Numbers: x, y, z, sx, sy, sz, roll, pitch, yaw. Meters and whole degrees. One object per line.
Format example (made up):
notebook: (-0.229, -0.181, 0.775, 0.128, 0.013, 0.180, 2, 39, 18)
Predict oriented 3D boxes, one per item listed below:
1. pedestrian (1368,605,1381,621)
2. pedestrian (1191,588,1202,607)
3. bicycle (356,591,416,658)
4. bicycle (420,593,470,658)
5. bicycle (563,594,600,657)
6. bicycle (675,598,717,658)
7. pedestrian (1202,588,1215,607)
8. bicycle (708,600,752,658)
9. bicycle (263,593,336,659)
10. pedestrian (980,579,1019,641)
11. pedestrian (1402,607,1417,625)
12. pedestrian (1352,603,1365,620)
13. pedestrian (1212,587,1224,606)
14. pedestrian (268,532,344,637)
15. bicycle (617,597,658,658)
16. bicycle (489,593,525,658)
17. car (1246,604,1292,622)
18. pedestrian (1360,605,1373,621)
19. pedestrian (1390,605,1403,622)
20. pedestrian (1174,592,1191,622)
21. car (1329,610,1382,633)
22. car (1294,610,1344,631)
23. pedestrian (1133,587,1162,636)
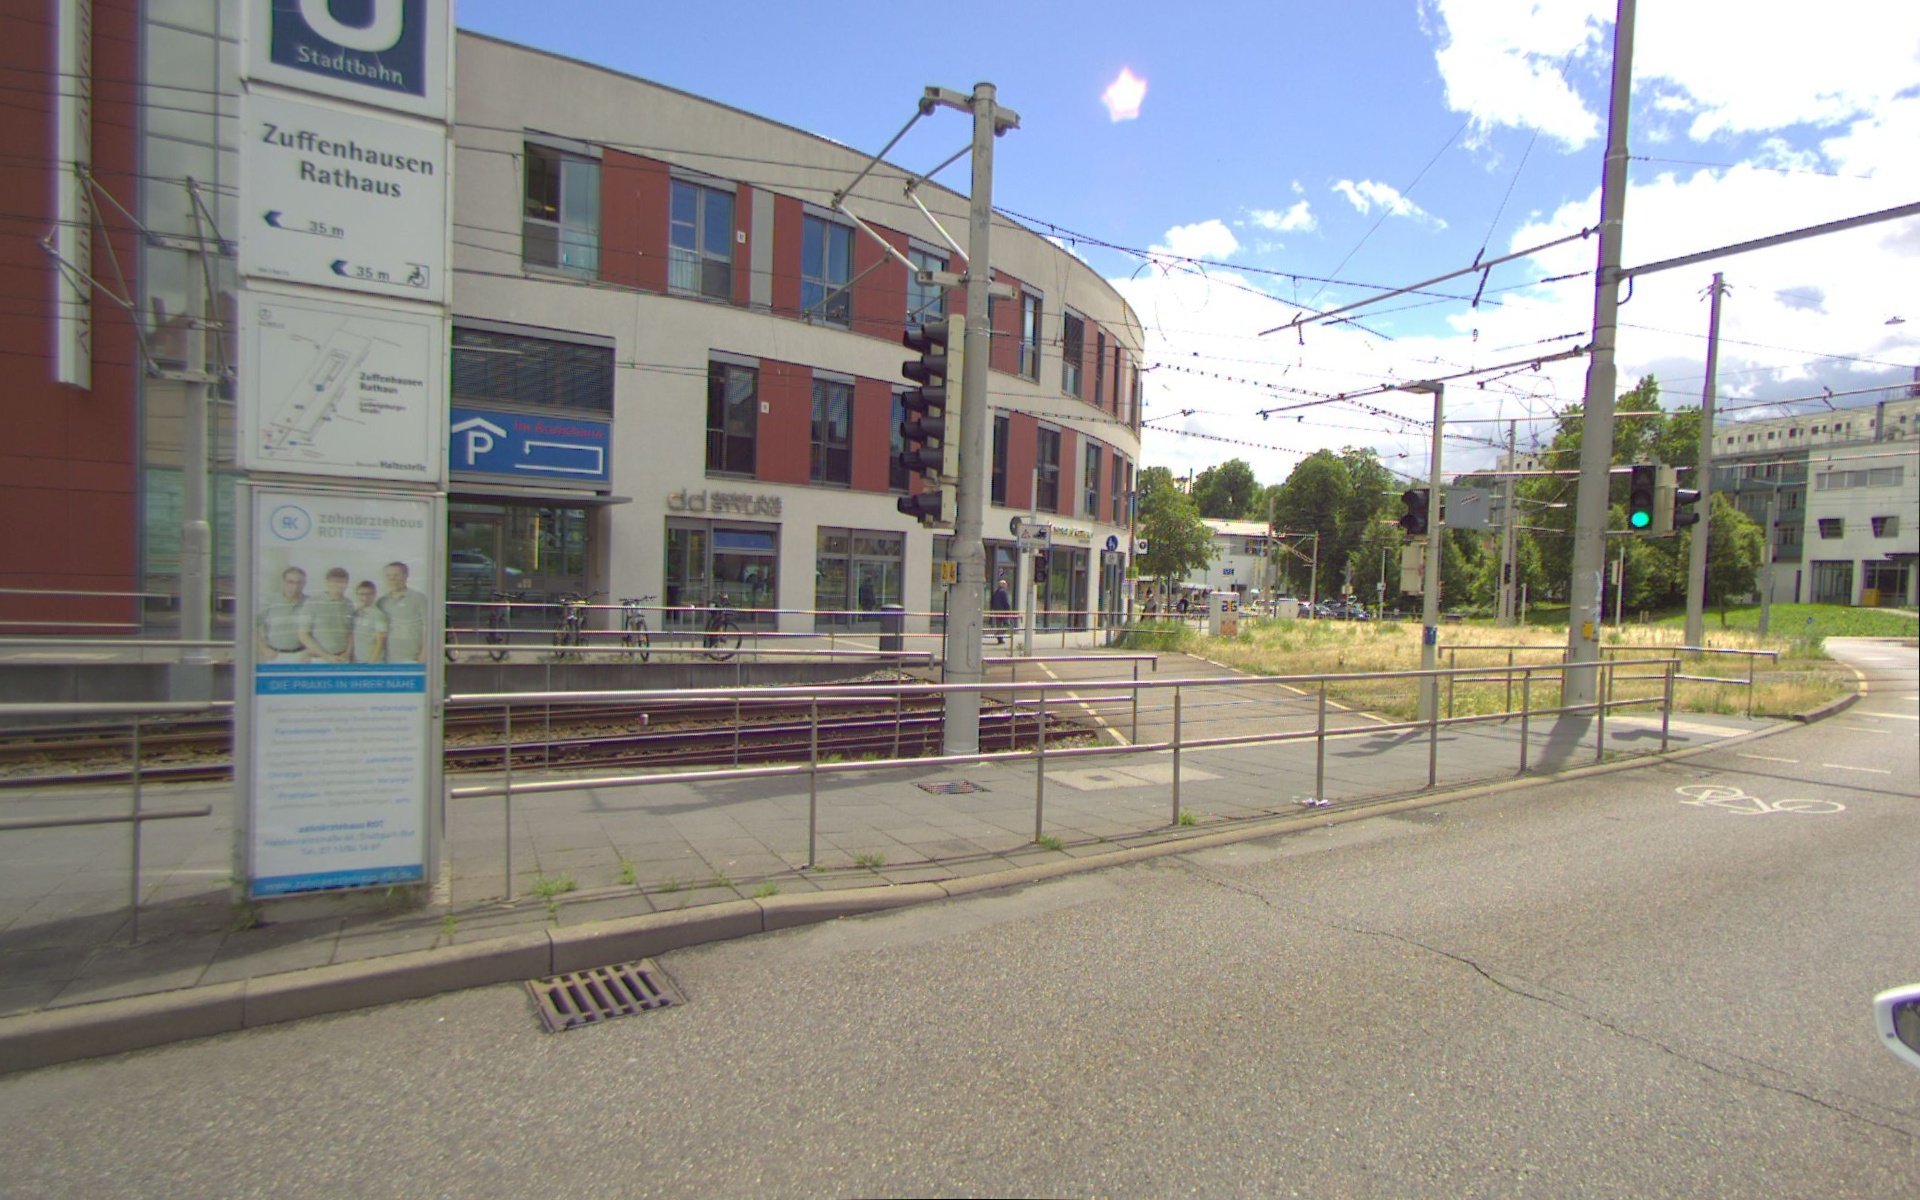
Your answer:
pedestrian: (40.537, 1.263, 98.259, 0.830, 1.597, 0.811, 0, 1, -23)
pedestrian: (22.128, -0.244, 93.815, 0.744, 1.707, 0.671, 1, 1, -14)
bicycle: (-8.890, 0.355, 15.601, 0.447, 0.944, 1.855, 2, 1, -19)
bicycle: (-8.164, 0.378, 15.978, 0.447, 0.935, 1.855, 2, 1, -20)
bicycle: (-6.448, 0.415, 17.069, 0.448, 0.976, 1.852, 2, 1, -25)
bicycle: (-4.761, 0.486, 18.045, 0.422, 0.970, 1.730, 2, 1, -25)
pedestrian: (22.828, -0.255, 92.344, 0.823, 1.755, 0.796, 1, 1, -14)
bicycle: (-4.221, 0.506, 18.361, 0.422, 0.965, 1.730, 2, 1, -25)
bicycle: (-9.836, 0.358, 15.006, 0.447, 0.893, 1.855, 2, 1, -19)
pedestrian: (1.044, 0.265, 26.371, 0.686, 1.601, 0.726, 2, 0, -43)
pedestrian: (41.431, 1.487, 92.588, 0.829, 1.597, 0.811, 0, 1, -22)
pedestrian: (39.755, 1.131, 100.159, 0.829, 1.597, 0.811, 0, 1, -22)
pedestrian: (23.385, -0.327, 90.949, 0.823, 1.714, 0.616, 1, 1, -14)
pedestrian: (-12.219, -0.287, 18.770, 0.865, 1.870, 0.862, 4, 1, 34)
bicycle: (-5.627, 0.455, 17.486, 0.448, 0.948, 1.852, 2, 1, -25)
bicycle: (-7.379, 0.393, 16.397, 0.448, 0.952, 1.853, 2, 1, -23)
car: (28.106, 1.151, 91.479, 1.907, 1.576, 4.476, 2, 0, -16)
pedestrian: (39.602, 1.269, 97.939, 0.830, 1.597, 0.811, 0, 1, -23)
pedestrian: (41.702, 1.287, 95.978, 0.830, 1.597, 0.811, 0, 1, -23)
pedestrian: (12.540, 0.415, 56.632, 0.847, 1.647, 0.733, 2, 0, 9)
car: (33.422, 1.796, 84.969, 1.990, 1.814, 4.224, 1, 0, -16)
car: (30.343, 1.705, 85.076, 1.888, 1.672, 4.240, 2, 0, -16)
pedestrian: (7.793, 0.466, 41.759, 0.849, 1.995, 1.114, 2, 0, 28)
